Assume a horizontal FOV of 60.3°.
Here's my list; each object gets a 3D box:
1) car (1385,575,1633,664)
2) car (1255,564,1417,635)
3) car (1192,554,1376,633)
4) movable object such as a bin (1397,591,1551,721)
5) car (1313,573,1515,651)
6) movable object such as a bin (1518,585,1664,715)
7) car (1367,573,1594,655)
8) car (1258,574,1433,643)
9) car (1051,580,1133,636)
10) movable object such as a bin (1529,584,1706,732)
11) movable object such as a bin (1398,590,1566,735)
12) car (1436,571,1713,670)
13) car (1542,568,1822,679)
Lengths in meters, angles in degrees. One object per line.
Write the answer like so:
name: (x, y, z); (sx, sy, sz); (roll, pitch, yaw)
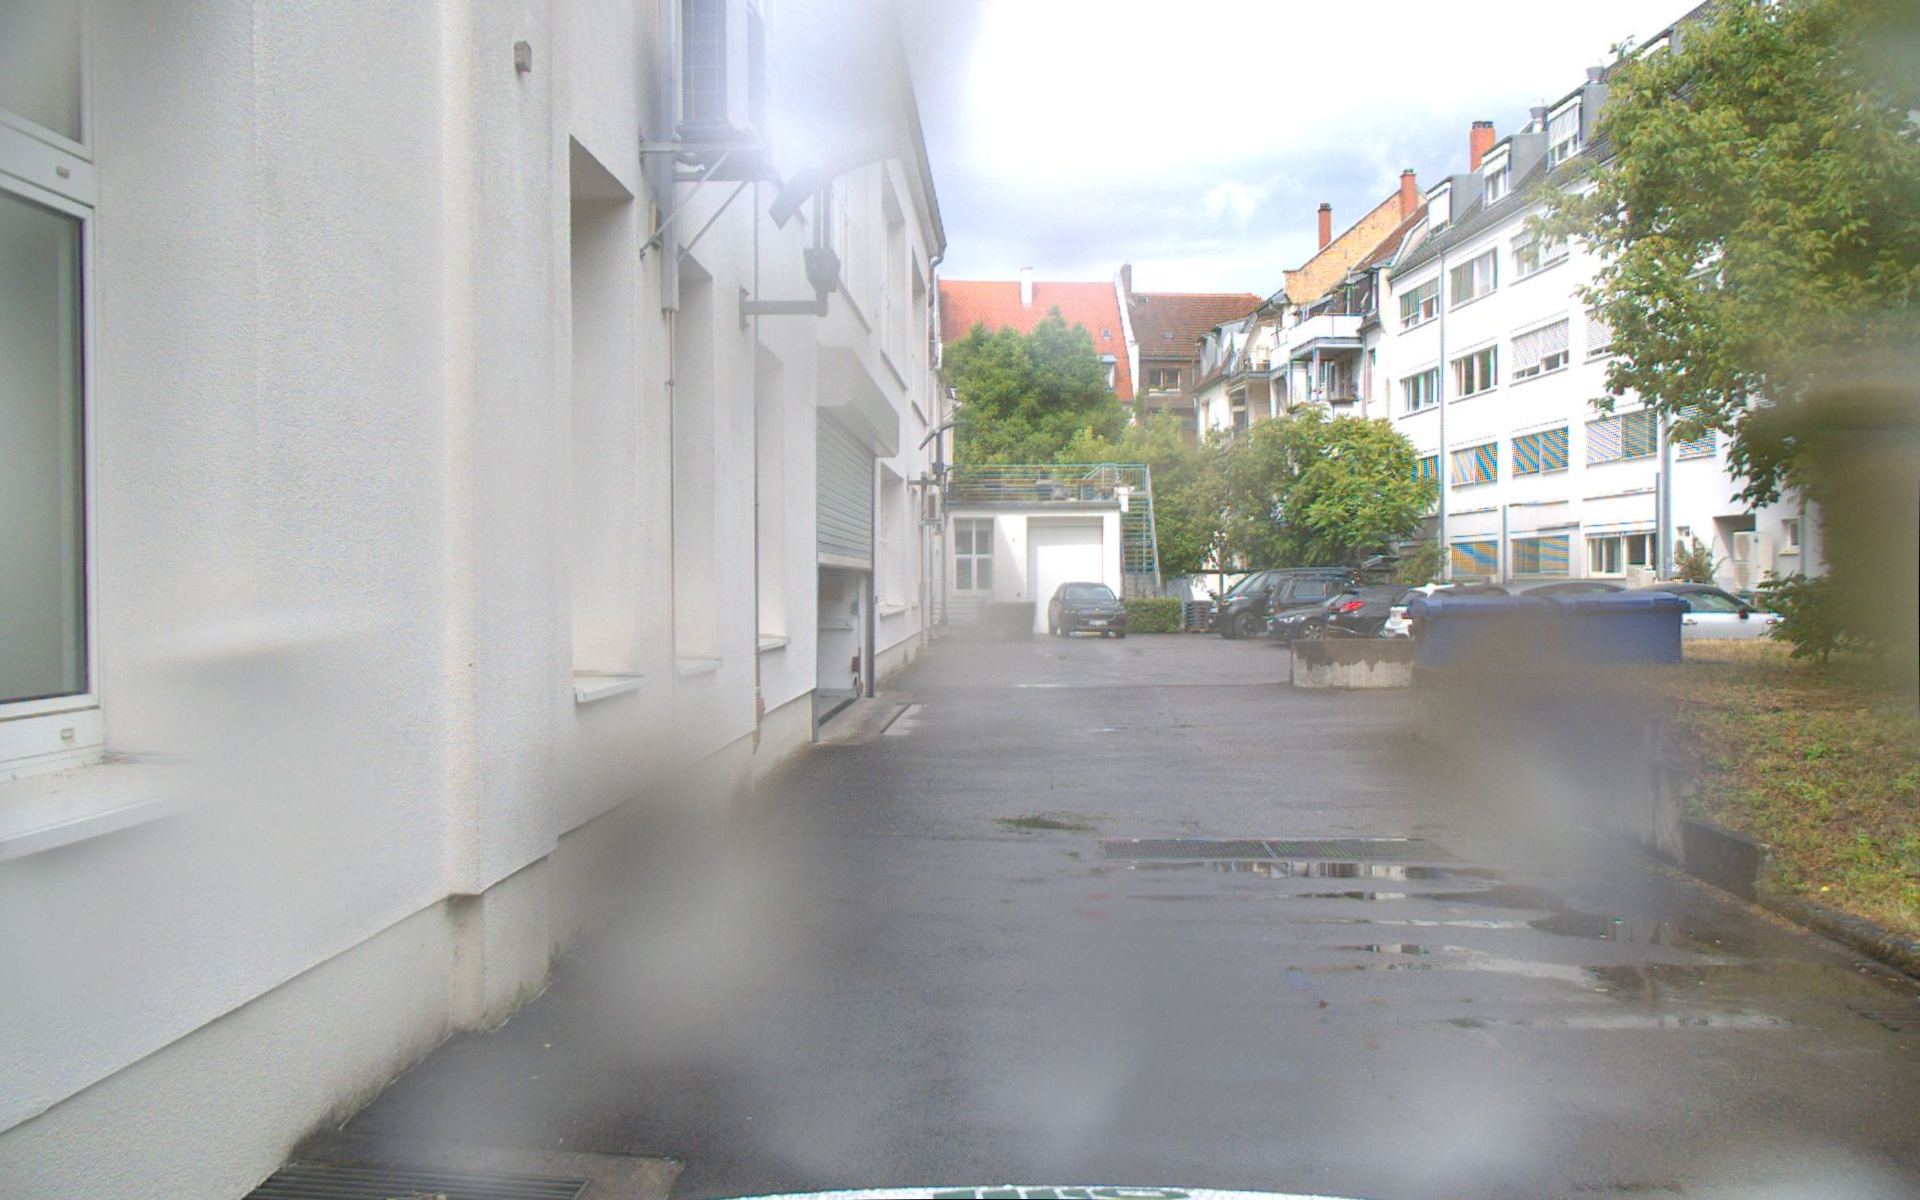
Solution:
car: (9.985, 0.335, 30.261); (3.908, 1.427, 1.772); (-2, 1, -4)
car: (9.870, -0.018, 43.619); (3.829, 1.717, 1.817); (-2, 0, 0)
car: (9.061, -0.203, 46.463); (4.550, 2.038, 2.221); (-2, 1, -9)
movable object such as a bin: (5.509, 0.580, 17.821); (1.343, 1.327, 1.083); (-1, 0, 3)
car: (9.838, 0.245, 35.991); (3.833, 1.540, 1.817); (-2, 0, -6)
movable object such as a bin: (6.785, 0.519, 17.844); (1.161, 1.327, 1.107); (-1, 0, 2)
car: (10.253, 0.267, 32.760); (3.908, 1.484, 1.772); (-1, 0, -4)
car: (9.413, 0.200, 40.574); (3.831, 1.540, 1.751); (-2, 0, -4)
car: (3.634, 0.184, 46.253); (1.939, 1.469, 4.000); (0, 1, -1)
movable object such as a bin: (6.372, 0.544, 16.117); (1.266, 1.359, 1.197); (-1, 0, 3)
movable object such as a bin: (5.050, 0.584, 16.098); (1.309, 1.314, 1.096); (-1, 1, 3)
car: (10.159, 0.319, 27.534); (3.906, 1.471, 1.806); (-2, 0, -2)
car: (10.595, 0.331, 24.426); (3.346, 1.451, 1.688); (-2, 0, -1)
